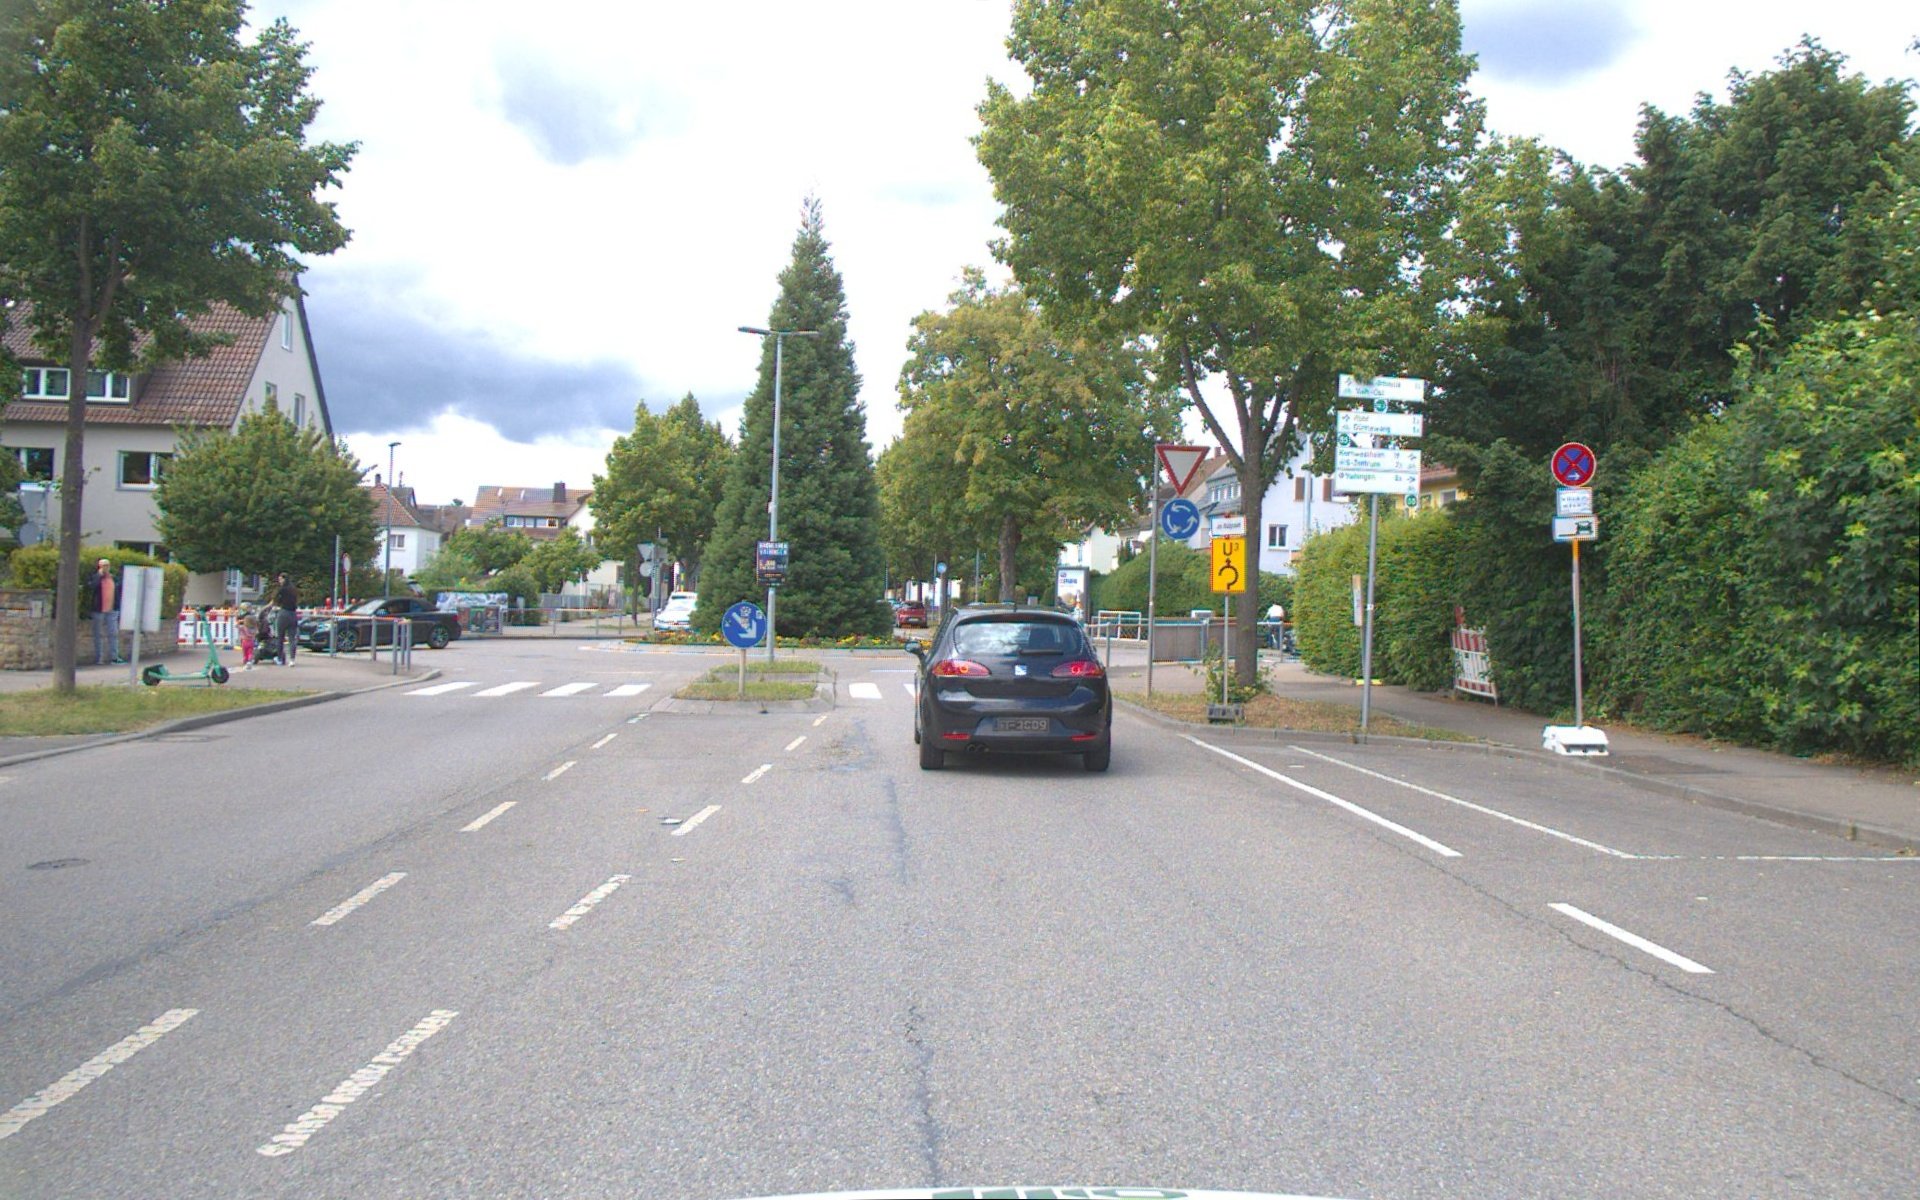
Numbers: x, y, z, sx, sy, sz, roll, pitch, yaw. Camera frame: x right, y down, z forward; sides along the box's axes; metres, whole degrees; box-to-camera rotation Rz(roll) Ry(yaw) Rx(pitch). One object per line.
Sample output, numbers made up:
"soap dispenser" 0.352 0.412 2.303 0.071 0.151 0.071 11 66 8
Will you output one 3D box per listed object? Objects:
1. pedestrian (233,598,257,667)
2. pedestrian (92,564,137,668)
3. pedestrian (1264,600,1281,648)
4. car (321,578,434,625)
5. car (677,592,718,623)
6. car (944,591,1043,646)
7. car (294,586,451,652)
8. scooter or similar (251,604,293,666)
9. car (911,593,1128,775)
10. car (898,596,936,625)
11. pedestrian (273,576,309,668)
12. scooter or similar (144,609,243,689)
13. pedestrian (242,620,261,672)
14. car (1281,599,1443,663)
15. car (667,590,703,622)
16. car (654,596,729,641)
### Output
"pedestrian" -13.322 0.608 30.826 0.339 1.266 0.350 1 0 -36
"pedestrian" -14.952 0.275 29.256 0.558 1.815 0.532 1 -1 -43
"pedestrian" 10.416 0.797 55.124 0.480 1.560 0.485 1 0 19
"car" -21.142 0.046 60.087 3.514 1.639 1.600 1 0 0
"car" -14.112 0.384 89.097 1.762 1.629 3.997 0 0 -4
"car" 1.035 0.573 53.046 1.963 1.641 3.979 1 0 -18
"car" -15.421 0.496 43.529 1.545 1.663 3.601 1 0 41
"scooter or similar" -13.022 0.659 31.301 0.403 1.115 0.955 4 -1 -41
"car" 0.443 0.710 15.890 1.698 1.512 3.997 1 0 -3
"car" -2.387 0.564 91.483 1.449 1.515 3.371 1 0 -13
"pedestrian" -12.461 0.400 30.802 0.477 1.699 0.509 1 0 -37
"scooter or similar" -11.319 0.712 24.435 1.273 1.158 0.343 1 0 -35
"pedestrian" -12.577 0.807 29.347 0.236 0.910 0.256 3 -1 -35
"car" 11.788 0.900 48.636 4.309 1.690 1.649 2 0 -3
"car" -17.802 0.371 107.291 1.990 2.005 3.995 0 0 -5
"car" -9.819 0.668 60.774 1.830 1.588 4.261 1 0 3
